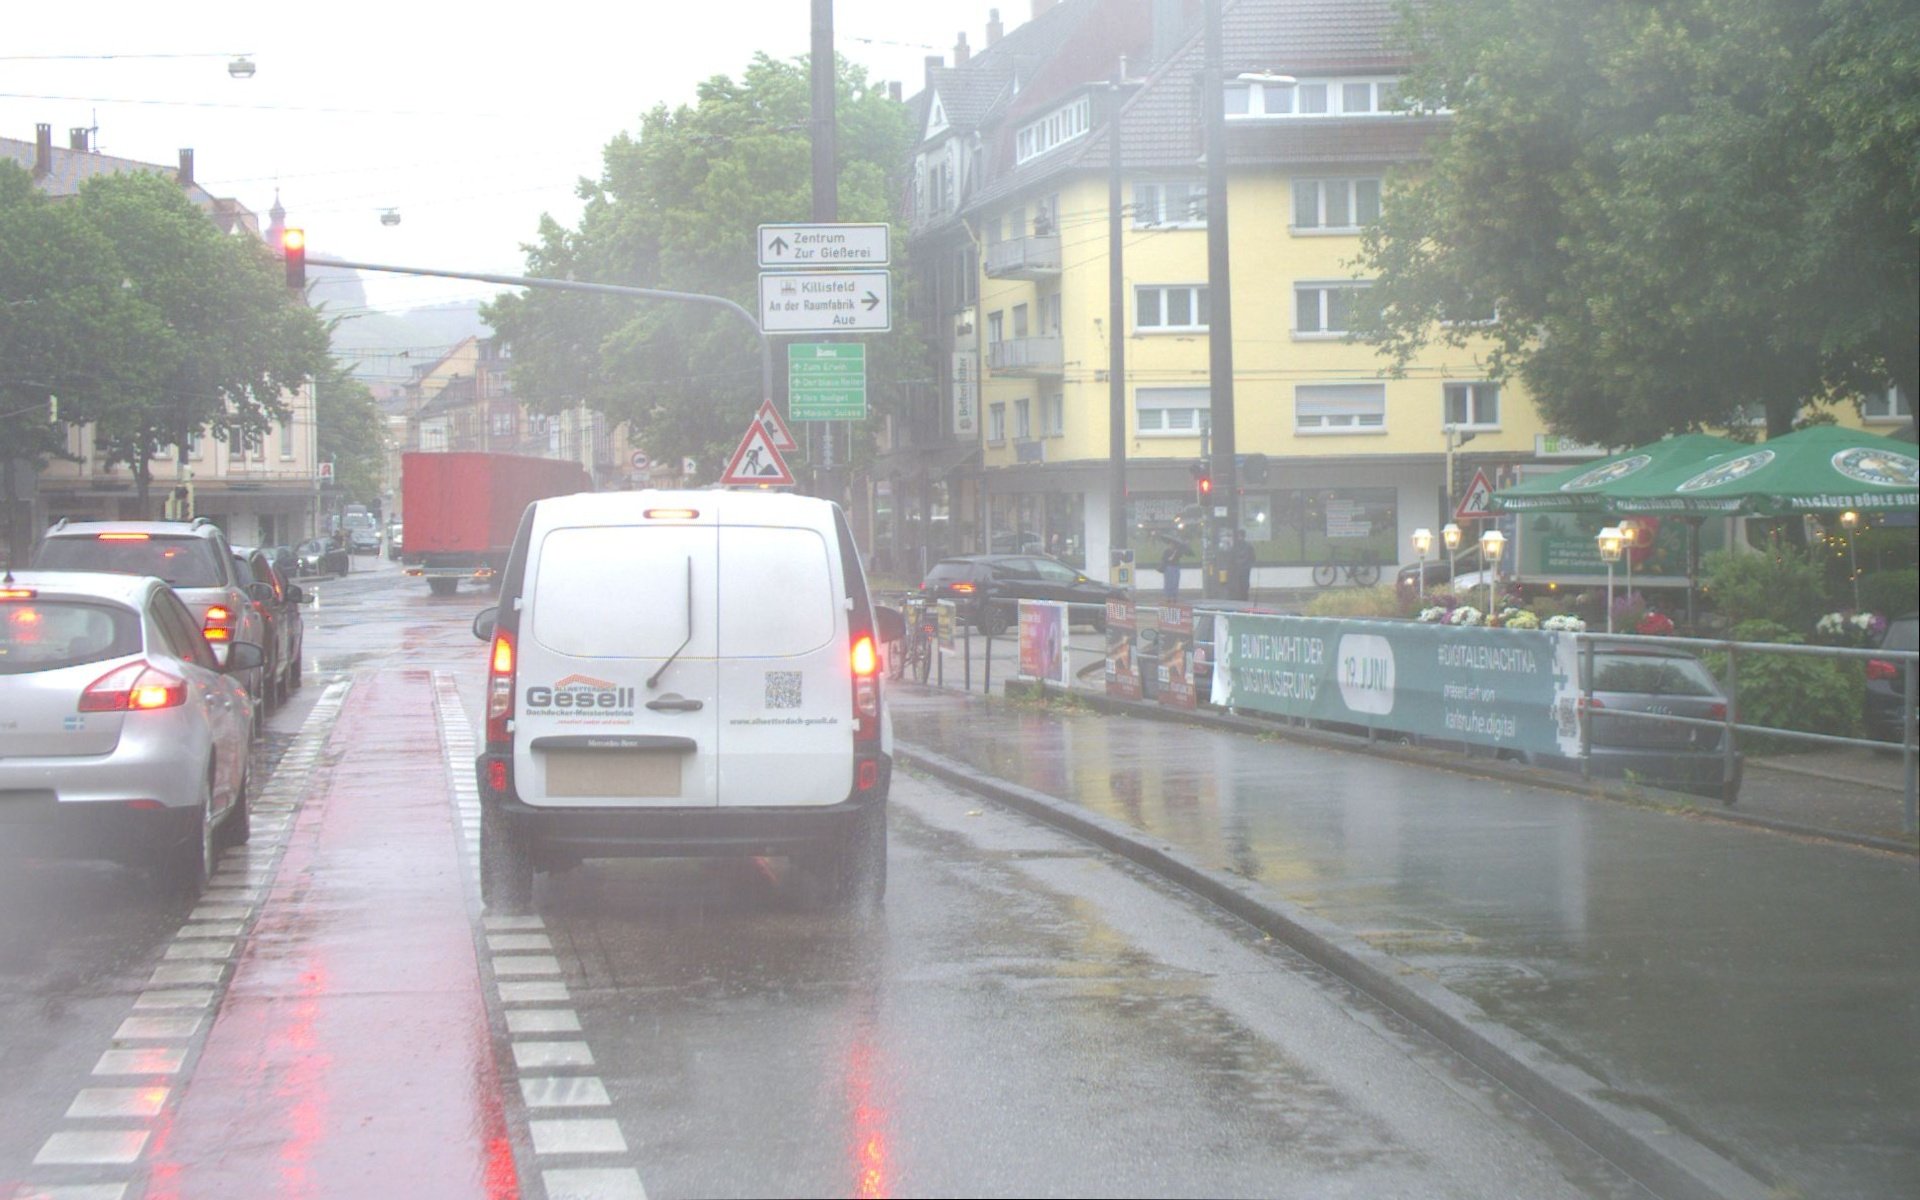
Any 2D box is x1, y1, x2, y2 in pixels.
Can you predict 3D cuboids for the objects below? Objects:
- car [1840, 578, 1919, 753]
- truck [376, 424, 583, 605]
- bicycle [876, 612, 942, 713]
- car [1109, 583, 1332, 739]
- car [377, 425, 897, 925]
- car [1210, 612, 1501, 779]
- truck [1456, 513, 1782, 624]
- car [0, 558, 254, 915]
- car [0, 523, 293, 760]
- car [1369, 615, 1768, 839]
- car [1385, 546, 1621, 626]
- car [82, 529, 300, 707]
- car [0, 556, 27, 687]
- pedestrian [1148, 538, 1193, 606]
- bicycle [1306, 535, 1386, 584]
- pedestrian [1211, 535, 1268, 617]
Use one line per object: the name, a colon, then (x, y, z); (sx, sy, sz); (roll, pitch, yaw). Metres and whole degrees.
car: (10.579, 0.645, 35.208); (1.997, 1.707, 3.993); (1, 1, 30)
truck: (-14.424, -2.485, 104.766); (3.470, 5.070, 15.306); (1, 1, 2)
bicycle: (-0.616, 0.732, 41.091); (0.514, 1.103, 2.017); (3, 1, -7)
car: (2.798, 0.631, 37.652); (1.705, 1.437, 3.526); (3, 1, -7)
car: (-1.676, 0.286, 16.410); (2.100, 2.005, 4.964); (0, 0, -9)
car: (3.633, 0.848, 32.228); (1.702, 1.395, 3.974); (1, 1, -9)
truck: (12.473, -0.596, 65.307); (5.745, 2.007, 2.112); (1, 0, -1)
car: (-4.303, 0.543, 16.183); (1.767, 1.472, 4.002); (1, 1, -10)
car: (-6.525, 0.291, 27.993); (2.024, 1.764, 4.464); (1, 1, -10)
car: (4.661, 0.937, 26.928); (1.731, 1.534, 4.076); (1, 1, -10)
car: (11.823, -0.296, 75.113); (4.938, 1.637, 1.999); (1, -2, 4)
car: (-7.647, 0.150, 34.494); (1.834, 1.662, 4.174); (1, 1, -9)
car: (-11.752, 0.226, 38.848); (1.843, 1.479, 4.001); (1, 1, -8)
pedestrian: (4.802, -0.643, 78.369); (0.622, 1.528, 0.814); (1, 1, 43)
bicycle: (10.269, -1.078, 91.559); (2.102, 1.257, 0.532); (1, 2, 6)
pedestrian: (5.741, -0.500, 70.517); (0.905, 1.663, 1.019); (1, 0, 21)
